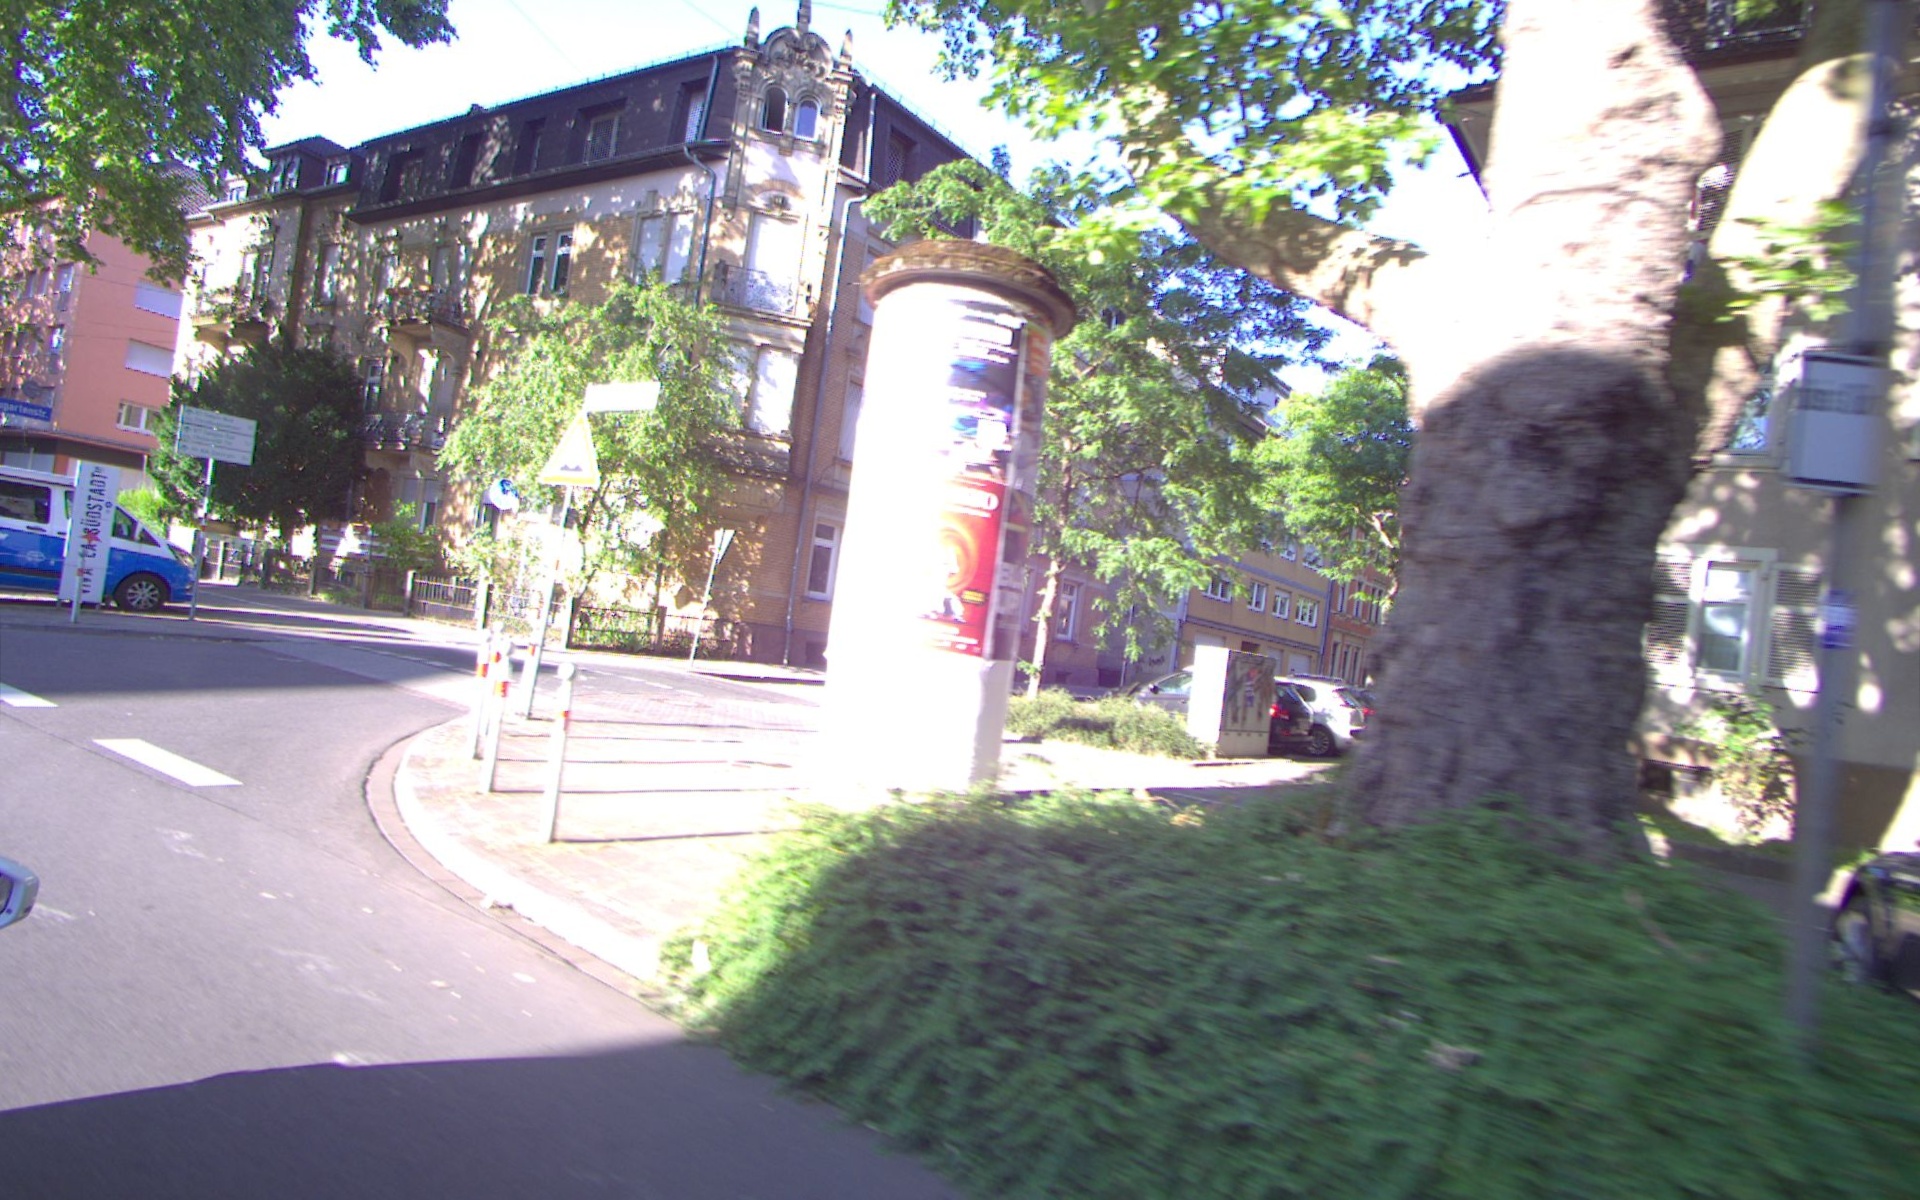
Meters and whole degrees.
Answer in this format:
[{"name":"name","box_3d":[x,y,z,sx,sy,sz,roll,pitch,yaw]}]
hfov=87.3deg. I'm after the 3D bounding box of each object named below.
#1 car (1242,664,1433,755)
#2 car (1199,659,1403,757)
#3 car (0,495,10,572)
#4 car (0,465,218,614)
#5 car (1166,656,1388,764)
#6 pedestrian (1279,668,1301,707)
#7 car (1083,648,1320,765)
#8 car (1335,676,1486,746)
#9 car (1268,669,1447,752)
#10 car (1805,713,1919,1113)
[{"name":"car","box_3d":[9.292,2.670,24.900,3.944,1.601,1.723,6,-2,41]},{"name":"car","box_3d":[7.737,2.440,23.014,3.944,1.601,1.723,6,-2,41]},{"name":"car","box_3d":[-22.063,-1.631,20.279,1.760,1.638,3.789,7,-1,29]},{"name":"car","box_3d":[-14.917,-1.052,15.641,2.156,2.038,4.856,7,-1,28]},{"name":"car","box_3d":[6.549,2.248,21.010,3.944,1.601,1.723,6,-2,41]},{"name":"pedestrian","box_3d":[15.488,4.117,47.219,0.515,1.769,0.922,7,-1,38]},{"name":"car","box_3d":[4.581,1.999,19.392,3.944,1.601,1.723,6,-2,41]},{"name":"car","box_3d":[14.331,3.534,32.131,3.944,1.601,1.723,6,-2,41]},{"name":"car","box_3d":[10.495,2.912,26.718,3.944,1.553,1.723,6,-2,41]},{"name":"car","box_3d":[4.786,1.391,3.543,1.861,1.650,4.807,8,-1,31]}]
